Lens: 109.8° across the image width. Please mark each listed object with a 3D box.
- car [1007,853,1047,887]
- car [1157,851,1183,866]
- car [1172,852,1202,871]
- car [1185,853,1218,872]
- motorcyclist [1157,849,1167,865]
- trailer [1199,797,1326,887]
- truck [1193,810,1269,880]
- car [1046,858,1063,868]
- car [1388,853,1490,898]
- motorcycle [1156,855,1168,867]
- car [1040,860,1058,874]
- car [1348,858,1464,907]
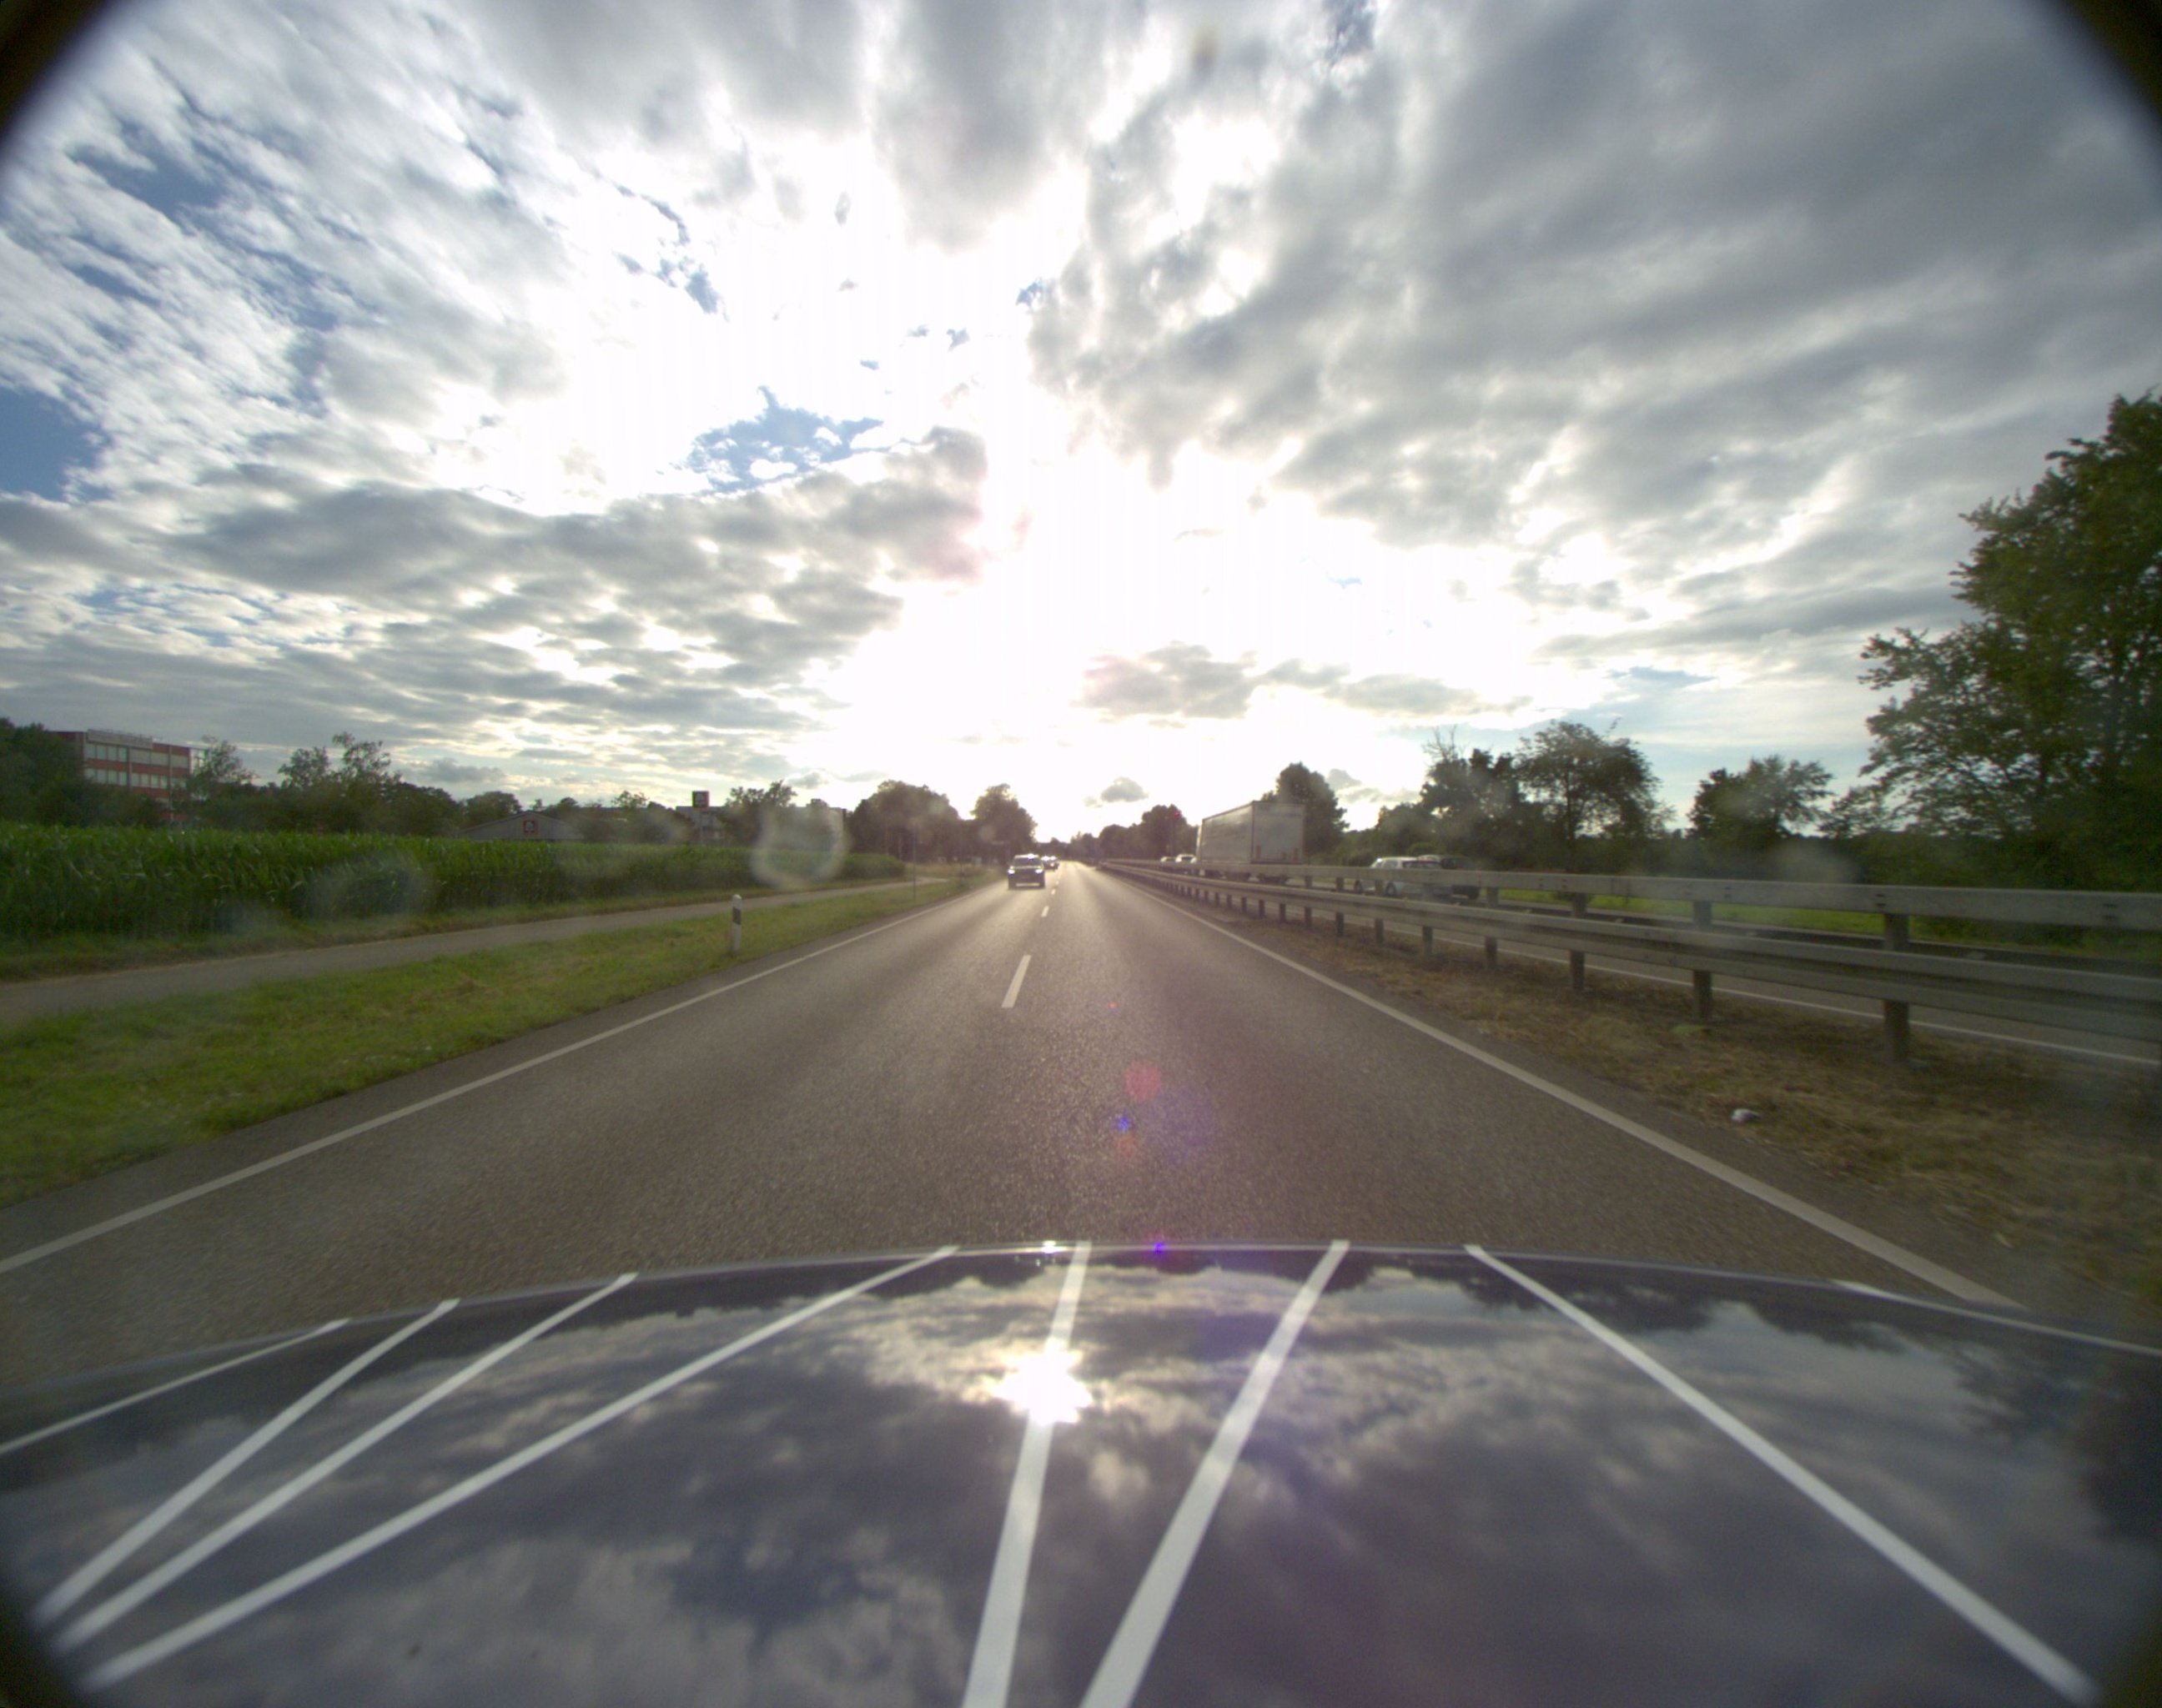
[{"bbox_3d":[-2.825,0.811,40.565,1.849,1.640,4.480,-2,0,-2],"label":"car"},{"bbox_3d":[8.899,0.420,76.016,1.912,1.420,5.151,0,0,-1],"label":"car"},{"bbox_3d":[9.272,0.642,66.649,1.912,1.600,4.404,0,0,-1],"label":"car"},{"bbox_3d":[9.227,0.639,58.619,1.793,1.436,4.159,0,0,-1],"label":"car"},{"bbox_3d":[8.677,0.321,81.450,0.919,1.699,1.275,1,1,-1],"label":"motorcyclist"},{"bbox_3d":[9.583,-0.579,42.574,3.474,4.126,13.913,1,0,-1],"label":"trailer"},{"bbox_3d":[9.490,-0.565,48.827,3.484,4.126,6.048,1,0,-1],"label":"truck"},{"bbox_3d":[-3.363,1.149,98.339,1.998,1.320,4.000,1,0,0],"label":"car"},{"bbox_3d":[13.338,0.735,28.616,1.793,1.564,4.159,0,0,-1],"label":"car"},{"bbox_3d":[8.681,0.742,81.456,0.919,1.196,2.478,1,1,-1],"label":"motorcycle"},{"bbox_3d":[-3.485,1.411,83.545,1.667,1.424,3.994,-2,0,1],"label":"car"},{"bbox_3d":[10.006,0.820,23.750,1.793,1.378,4.159,0,0,-1],"label":"car"}]
